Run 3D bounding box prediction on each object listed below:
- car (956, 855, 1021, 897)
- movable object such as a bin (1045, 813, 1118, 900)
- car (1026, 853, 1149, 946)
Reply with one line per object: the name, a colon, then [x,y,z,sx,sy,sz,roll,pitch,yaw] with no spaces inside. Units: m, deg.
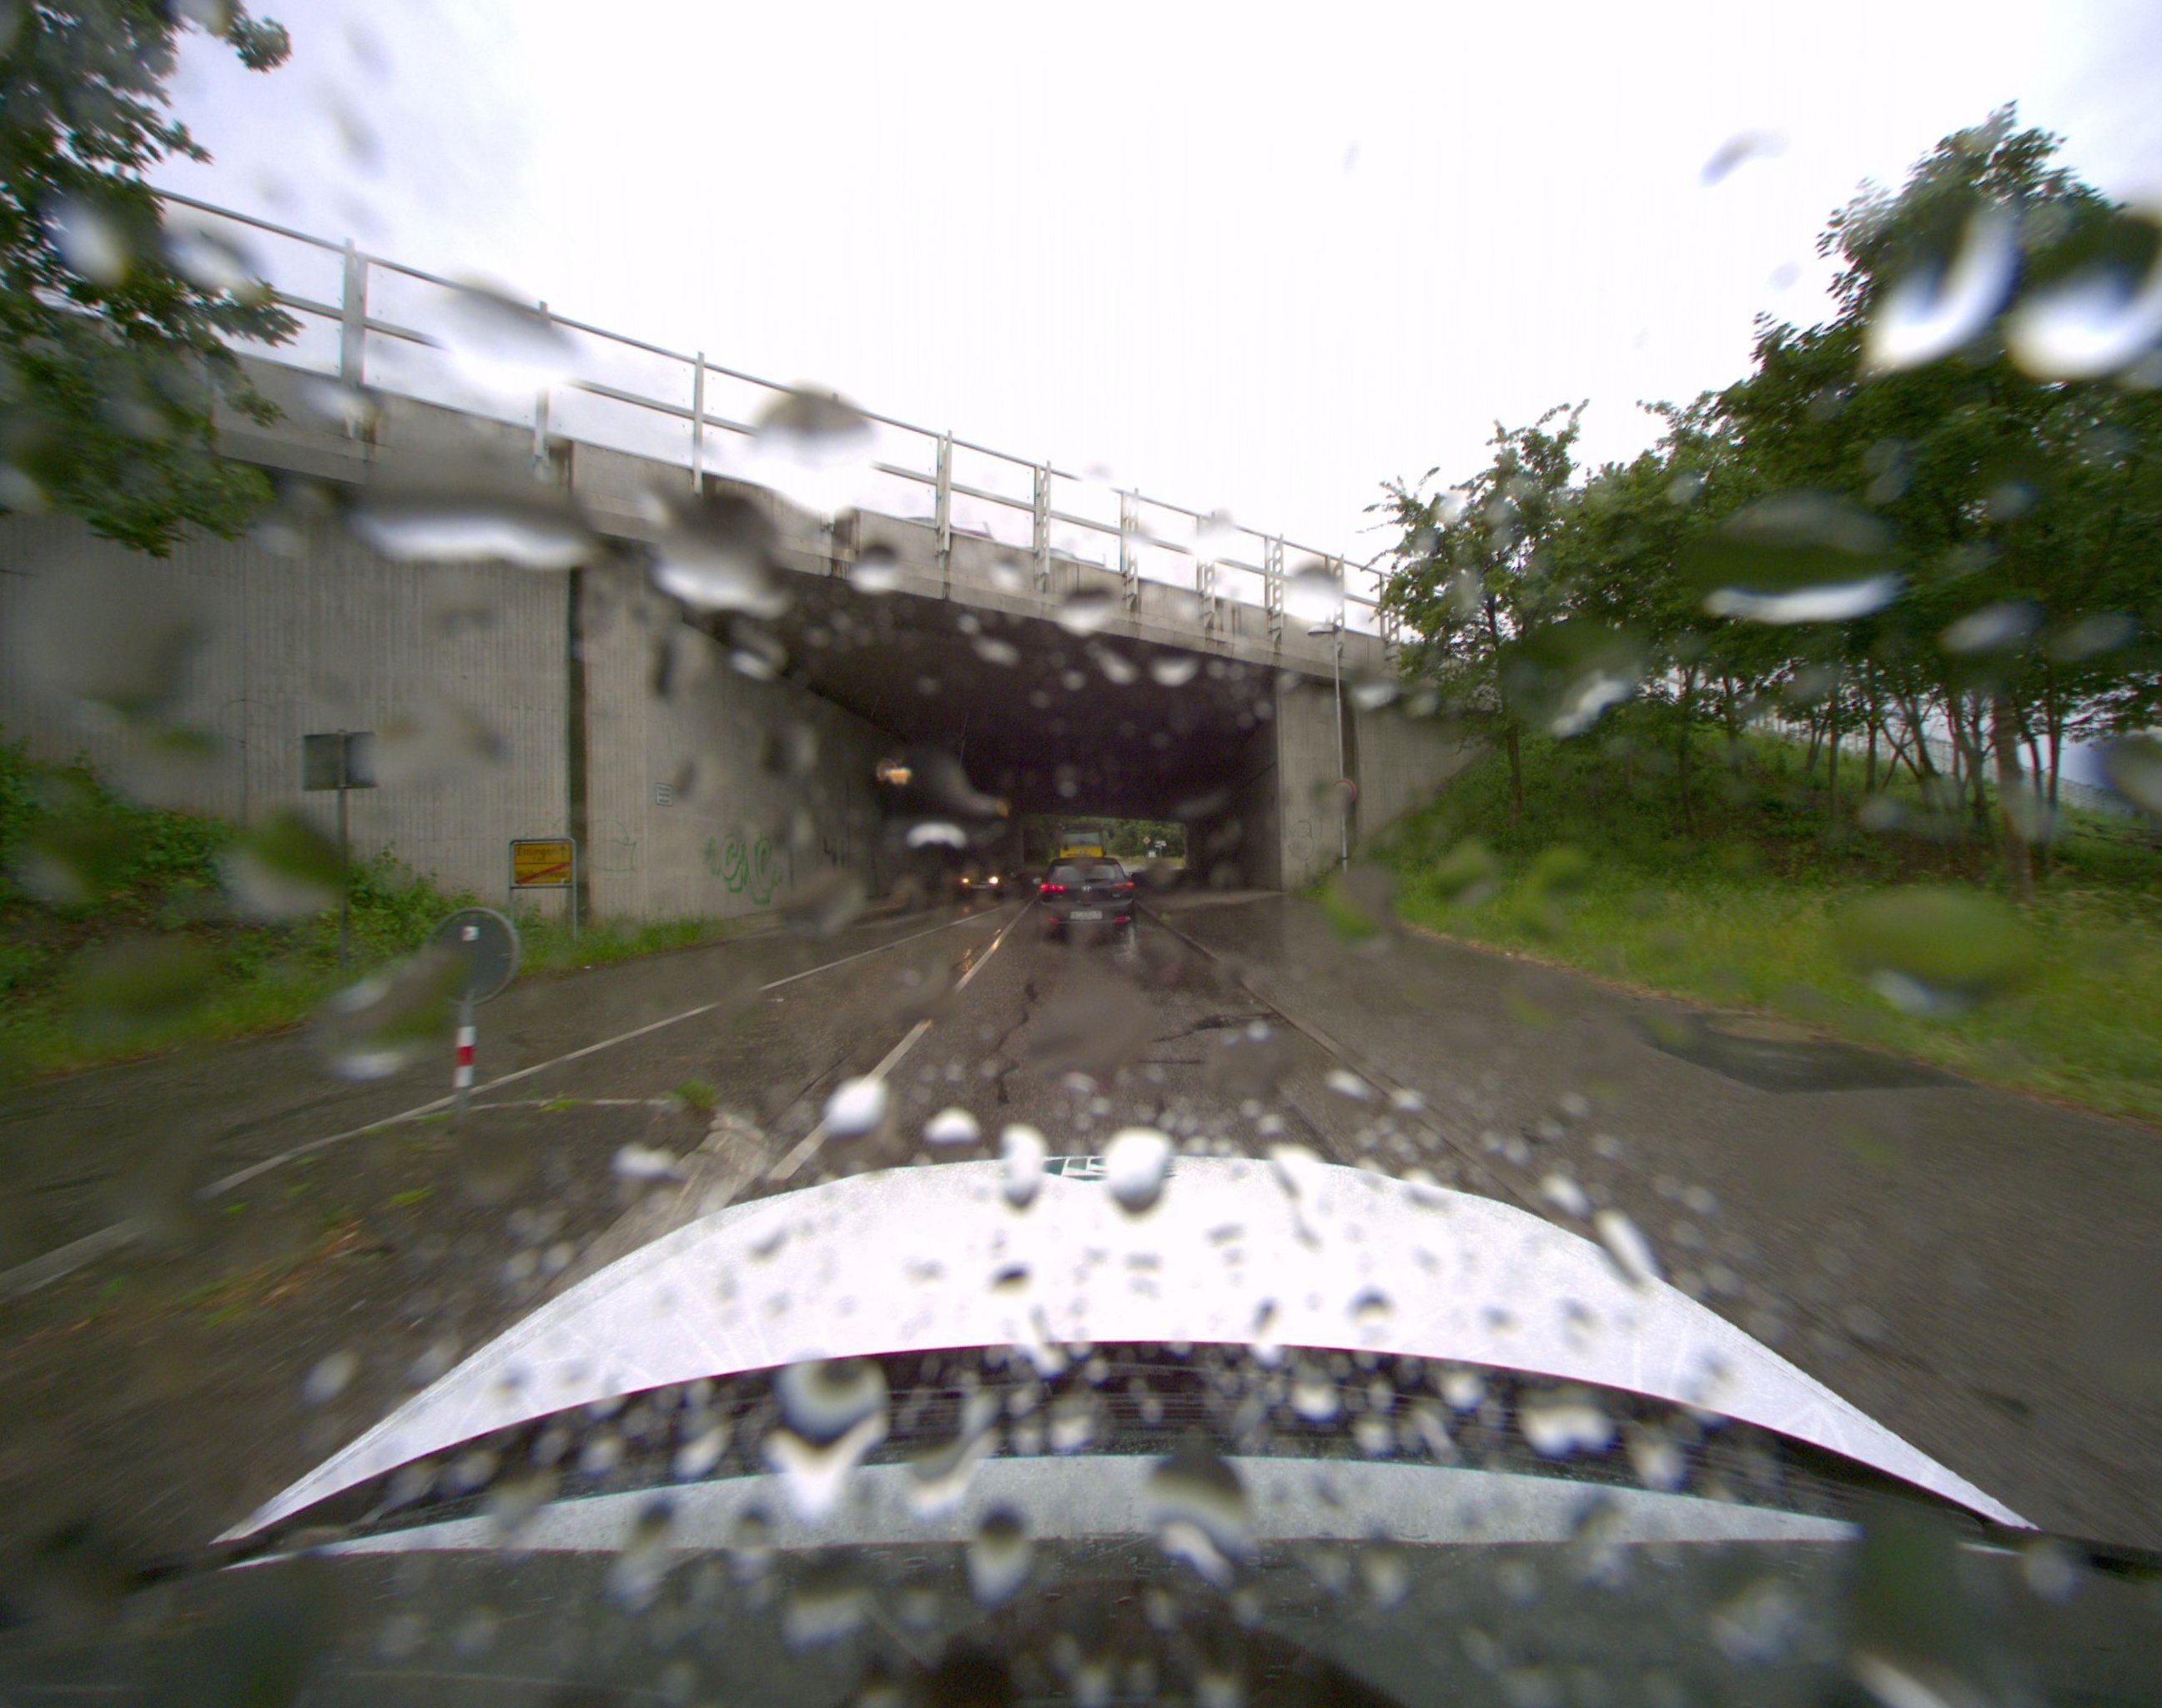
car: [-3.406,0.775,30.773,1.683,1.487,4.077,-1,0,4]
movable object such as a bin: [0.075,0.084,28.377,2.238,2.669,6.627,0,0,1]
car: [0.137,0.742,15.133,1.987,1.487,4.000,0,0,1]
